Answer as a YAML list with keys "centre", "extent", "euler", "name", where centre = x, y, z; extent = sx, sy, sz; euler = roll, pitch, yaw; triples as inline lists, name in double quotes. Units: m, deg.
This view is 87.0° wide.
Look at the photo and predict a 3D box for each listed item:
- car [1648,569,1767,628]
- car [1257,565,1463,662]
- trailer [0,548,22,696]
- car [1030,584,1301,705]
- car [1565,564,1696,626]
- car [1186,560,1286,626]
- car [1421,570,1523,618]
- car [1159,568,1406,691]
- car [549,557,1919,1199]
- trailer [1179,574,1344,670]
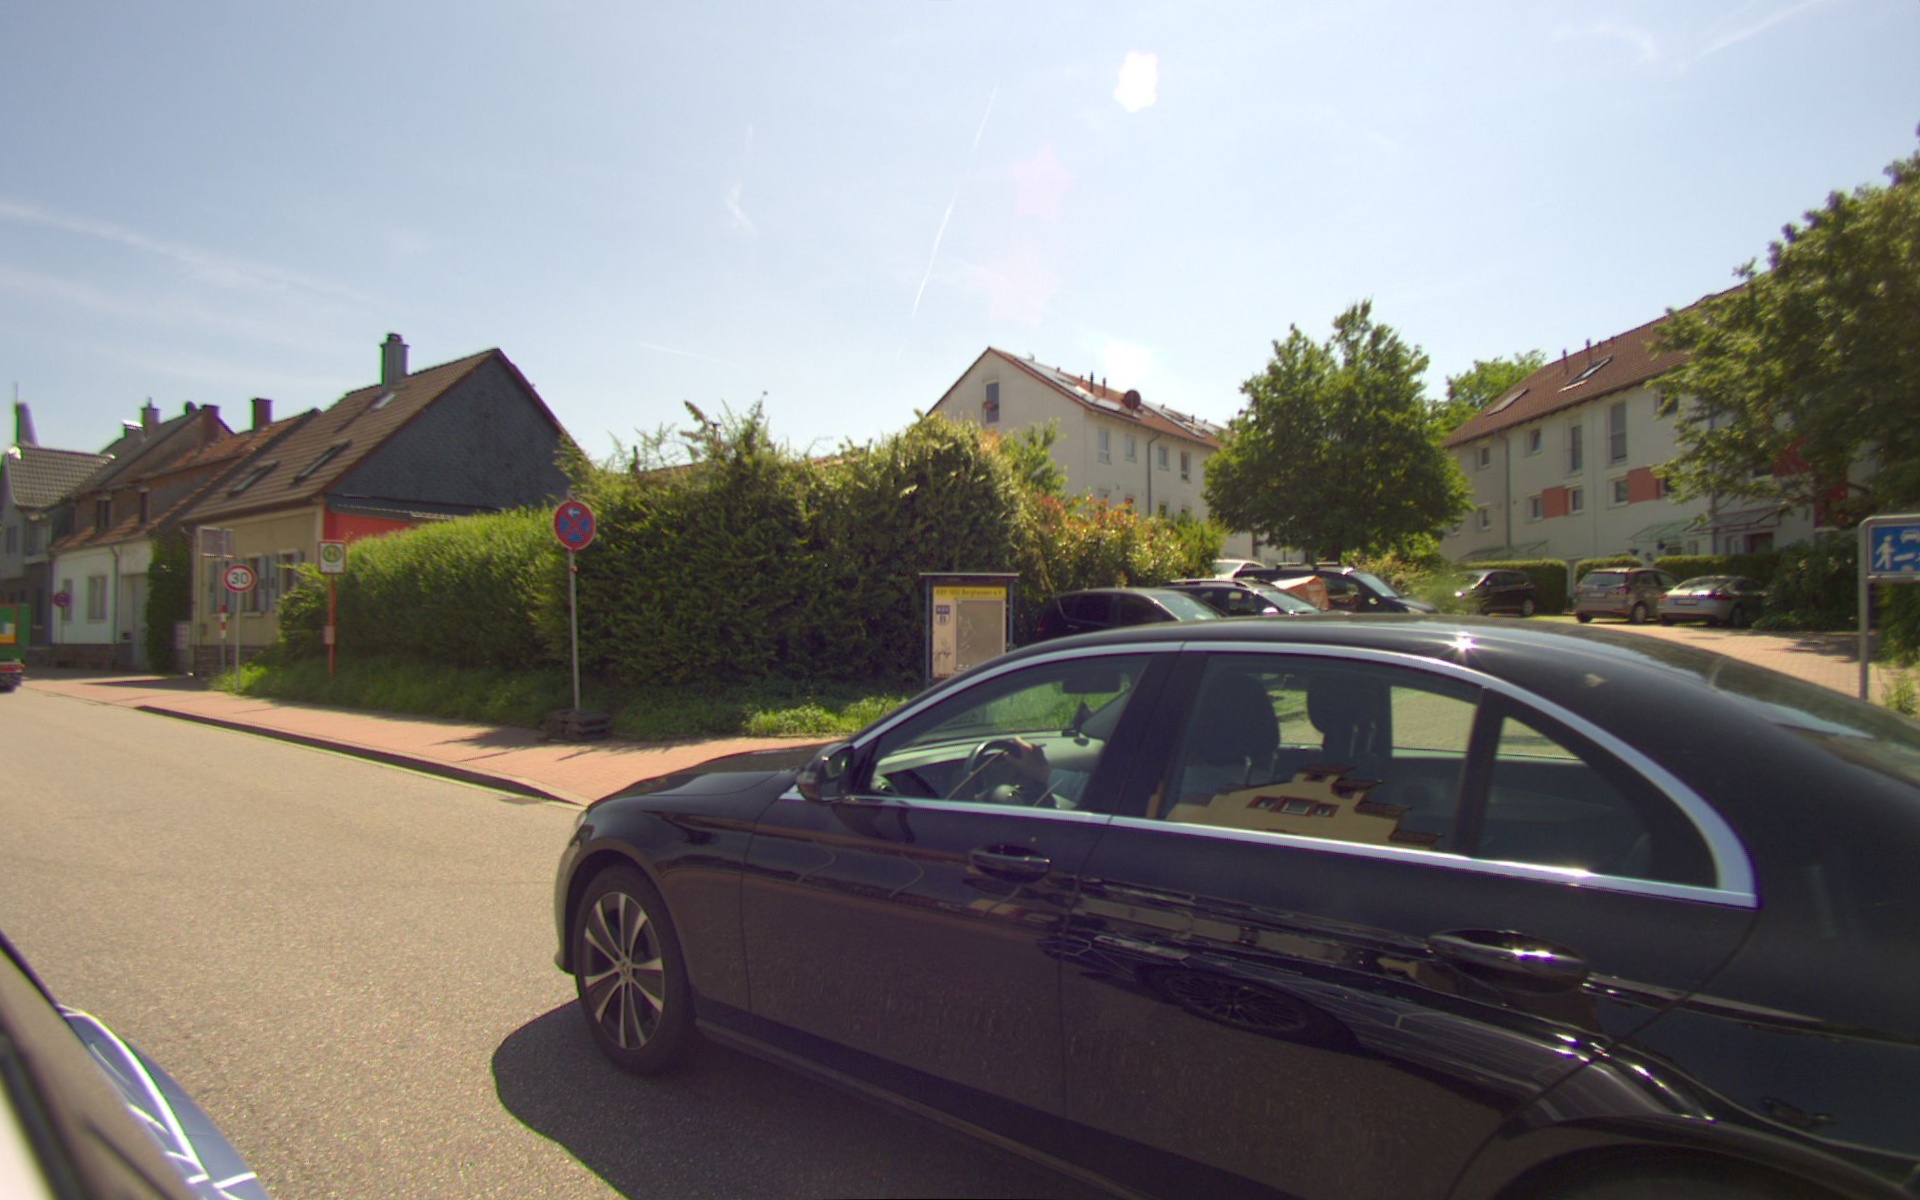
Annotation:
- centre: [20.161, -0.060, 27.254]
  extent: [3.937, 1.439, 1.695]
  euler: [-2, 0, -40]
  name: "car"
- centre: [8.139, 0.268, 20.738]
  extent: [3.552, 1.794, 1.605]
  euler: [-2, 1, 44]
  name: "car"
- centre: [-27.699, 0.627, 27.227]
  extent: [8.454, 3.677, 2.504]
  euler: [-2, -3, 40]
  name: "trailer"
- centre: [2.983, 0.608, 15.150]
  extent: [3.653, 1.552, 1.605]
  euler: [-2, 1, 44]
  name: "car"
- centre: [19.461, -0.175, 29.346]
  extent: [3.933, 1.635, 1.754]
  euler: [-2, 1, -33]
  name: "car"
- centre: [7.871, -0.197, 28.681]
  extent: [1.419, 1.747, 3.594]
  euler: [-1, 0, 39]
  name: "car"
- centre: [16.885, -0.192, 33.320]
  extent: [3.580, 1.463, 1.595]
  euler: [-1, -1, -38]
  name: "car"
- centre: [5.271, 0.453, 16.781]
  extent: [3.511, 1.793, 1.605]
  euler: [-2, 1, 44]
  name: "car"
- centre: [0.985, 0.733, 2.463]
  extent: [4.691, 1.471, 1.712]
  euler: [-2, -3, 41]
  name: "car"
- centre: [5.822, 0.419, 19.581]
  extent: [2.688, 1.676, 1.413]
  euler: [-2, 2, 37]
  name: "trailer"
